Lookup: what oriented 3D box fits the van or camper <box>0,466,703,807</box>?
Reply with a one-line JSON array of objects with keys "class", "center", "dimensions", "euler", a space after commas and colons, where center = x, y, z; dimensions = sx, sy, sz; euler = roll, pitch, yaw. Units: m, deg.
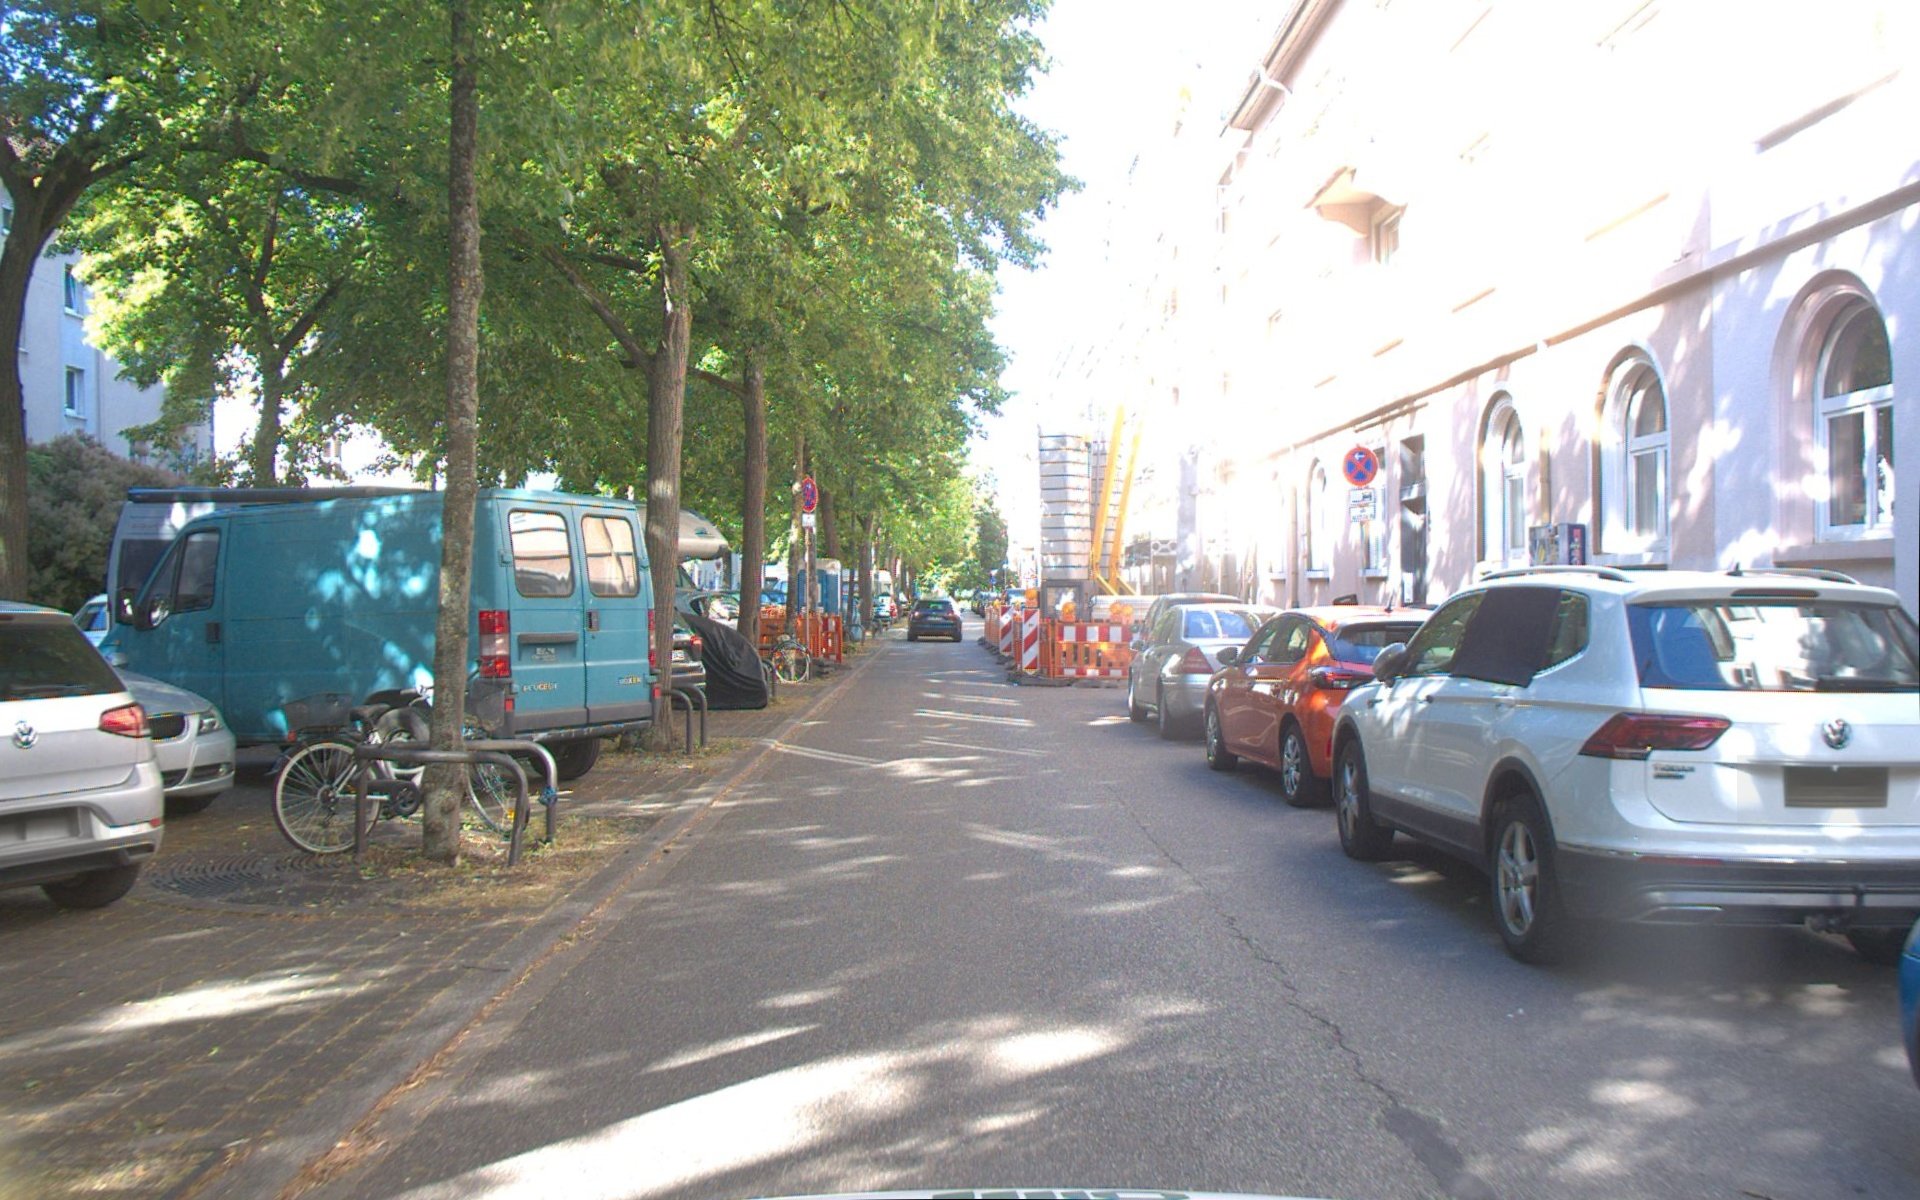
[{"class": "van or camper", "center": [-4.993, 0.275, 13.323], "dimensions": [5.386, 2.315, 2.220], "euler": [-1, 1, 23]}]

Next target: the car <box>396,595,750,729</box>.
[{"class": "car", "center": [-4.657, 0.703, 19.864], "dimensions": [3.876, 1.439, 1.821], "euler": [-1, 0, 27]}]

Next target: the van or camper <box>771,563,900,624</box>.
[{"class": "van or camper", "center": [-5.464, -0.295, 72.344], "dimensions": [5.235, 2.518, 2.289], "euler": [-1, 1, 32]}]

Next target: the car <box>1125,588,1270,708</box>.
[{"class": "car", "center": [3.282, 0.629, 23.289], "dimensions": [1.559, 1.557, 2.779], "euler": [-1, 1, -2]}]

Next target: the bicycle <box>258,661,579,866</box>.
[{"class": "bicycle", "center": [-3.136, 0.914, 9.650], "dimensions": [1.702, 1.023, 0.506], "euler": [-2, 0, -31]}]

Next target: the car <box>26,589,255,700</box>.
[{"class": "car", "center": [-15.146, 0.749, 30.895], "dimensions": [1.780, 1.834, 4.846], "euler": [-2, 0, 0]}]

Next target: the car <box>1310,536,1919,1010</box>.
[{"class": "car", "center": [3.184, 0.594, 8.355], "dimensions": [1.779, 1.703, 4.673], "euler": [-1, 1, -1]}]

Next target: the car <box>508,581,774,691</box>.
[{"class": "car", "center": [-5.148, 0.559, 26.712], "dimensions": [3.874, 1.657, 1.822], "euler": [-1, 0, 25]}]

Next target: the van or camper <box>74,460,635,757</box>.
[{"class": "van or camper", "center": [-6.410, 0.103, 17.331], "dimensions": [5.756, 2.683, 2.252], "euler": [-1, 1, 29]}]

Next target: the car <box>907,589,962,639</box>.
[{"class": "car", "center": [-0.883, 0.445, 55.383], "dimensions": [1.761, 1.530, 3.584], "euler": [-2, 1, -2]}]

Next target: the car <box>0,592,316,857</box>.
[{"class": "car", "center": [-6.317, 0.713, 11.005], "dimensions": [3.911, 1.456, 1.718], "euler": [-1, 1, 30]}]

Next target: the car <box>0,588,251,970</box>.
[{"class": "car", "center": [-5.333, 0.716, 7.519], "dimensions": [3.867, 1.468, 1.844], "euler": [-1, 1, 28]}]

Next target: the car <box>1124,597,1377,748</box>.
[{"class": "car", "center": [3.134, 0.721, 18.791], "dimensions": [1.953, 1.434, 4.499], "euler": [0, 1, -2]}]

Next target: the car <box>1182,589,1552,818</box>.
[{"class": "car", "center": [3.137, 0.708, 13.602], "dimensions": [1.756, 1.550, 3.960], "euler": [-1, 1, -5]}]

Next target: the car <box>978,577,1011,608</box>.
[{"class": "car", "center": [2.058, -0.478, 99.969], "dimensions": [1.761, 1.831, 3.584], "euler": [-2, 1, -2]}]

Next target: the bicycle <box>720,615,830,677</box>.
[{"class": "bicycle", "center": [-3.139, 0.782, 27.990], "dimensions": [1.858, 1.024, 0.430], "euler": [-1, 0, 23]}]

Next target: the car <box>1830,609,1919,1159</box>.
[{"class": "car", "center": [3.323, 0.756, 2.881], "dimensions": [1.584, 1.437, 3.787], "euler": [-1, 1, -1]}]

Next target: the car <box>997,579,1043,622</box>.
[{"class": "car", "center": [2.656, 0.002, 73.566], "dimensions": [1.761, 1.831, 3.584], "euler": [-2, 1, -2]}]

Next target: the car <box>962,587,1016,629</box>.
[{"class": "car", "center": [1.022, 0.269, 59.488], "dimensions": [1.761, 1.409, 3.584], "euler": [-2, 1, -2]}]

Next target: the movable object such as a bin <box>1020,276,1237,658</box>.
[{"class": "movable object such as a bin", "center": [3.232, -2.395, 31.639], "dimensions": [3.415, 6.877, 2.363], "euler": [0, 0, 32]}]

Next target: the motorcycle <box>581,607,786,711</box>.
[{"class": "motorcycle", "center": [-3.584, 0.758, 21.534], "dimensions": [2.495, 1.280, 0.763], "euler": [-1, 0, 7]}]

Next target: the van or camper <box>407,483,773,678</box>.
[{"class": "van or camper", "center": [-6.899, -0.305, 30.646], "dimensions": [6.528, 3.297, 2.492], "euler": [-1, 1, 28]}]
